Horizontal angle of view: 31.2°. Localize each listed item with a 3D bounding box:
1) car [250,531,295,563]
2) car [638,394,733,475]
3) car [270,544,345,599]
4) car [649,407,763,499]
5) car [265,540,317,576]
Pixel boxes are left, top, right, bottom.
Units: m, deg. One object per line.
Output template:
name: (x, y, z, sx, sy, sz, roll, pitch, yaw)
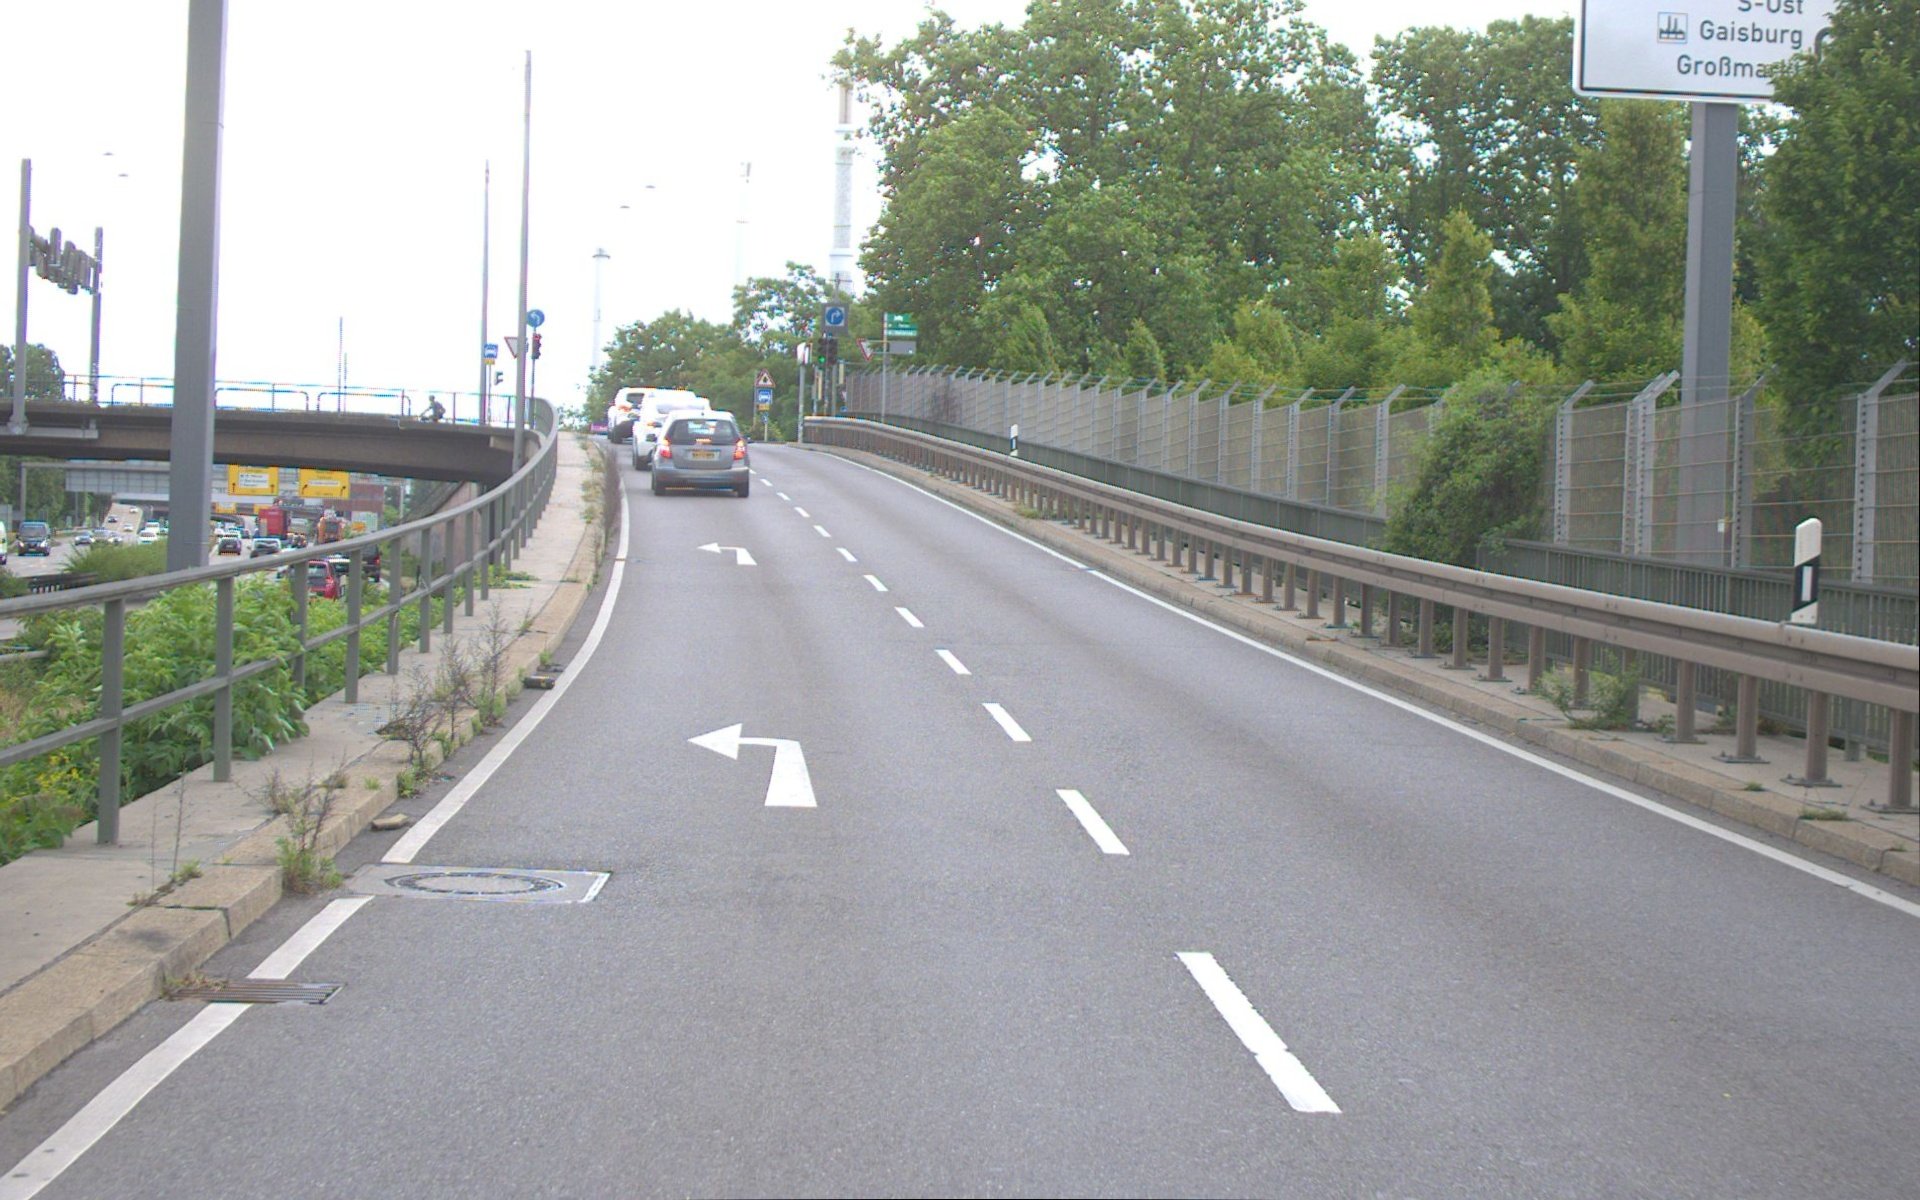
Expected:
car: (-40.148, -3.107, 200.776, 1.993, 1.678, 4.001, 2, 2, -3)
car: (-6.095, -3.675, 75.991, 1.993, 1.597, 4.002, 0, 5, -6)
car: (-18.957, -0.833, 99.989, 1.993, 1.415, 4.001, 2, 2, -10)
car: (-4.738, -2.742, 64.673, 1.750, 1.575, 4.085, 2, 1, 1)
car: (-34.199, -2.144, 175.805, 1.993, 1.678, 4.001, 2, 2, -3)
